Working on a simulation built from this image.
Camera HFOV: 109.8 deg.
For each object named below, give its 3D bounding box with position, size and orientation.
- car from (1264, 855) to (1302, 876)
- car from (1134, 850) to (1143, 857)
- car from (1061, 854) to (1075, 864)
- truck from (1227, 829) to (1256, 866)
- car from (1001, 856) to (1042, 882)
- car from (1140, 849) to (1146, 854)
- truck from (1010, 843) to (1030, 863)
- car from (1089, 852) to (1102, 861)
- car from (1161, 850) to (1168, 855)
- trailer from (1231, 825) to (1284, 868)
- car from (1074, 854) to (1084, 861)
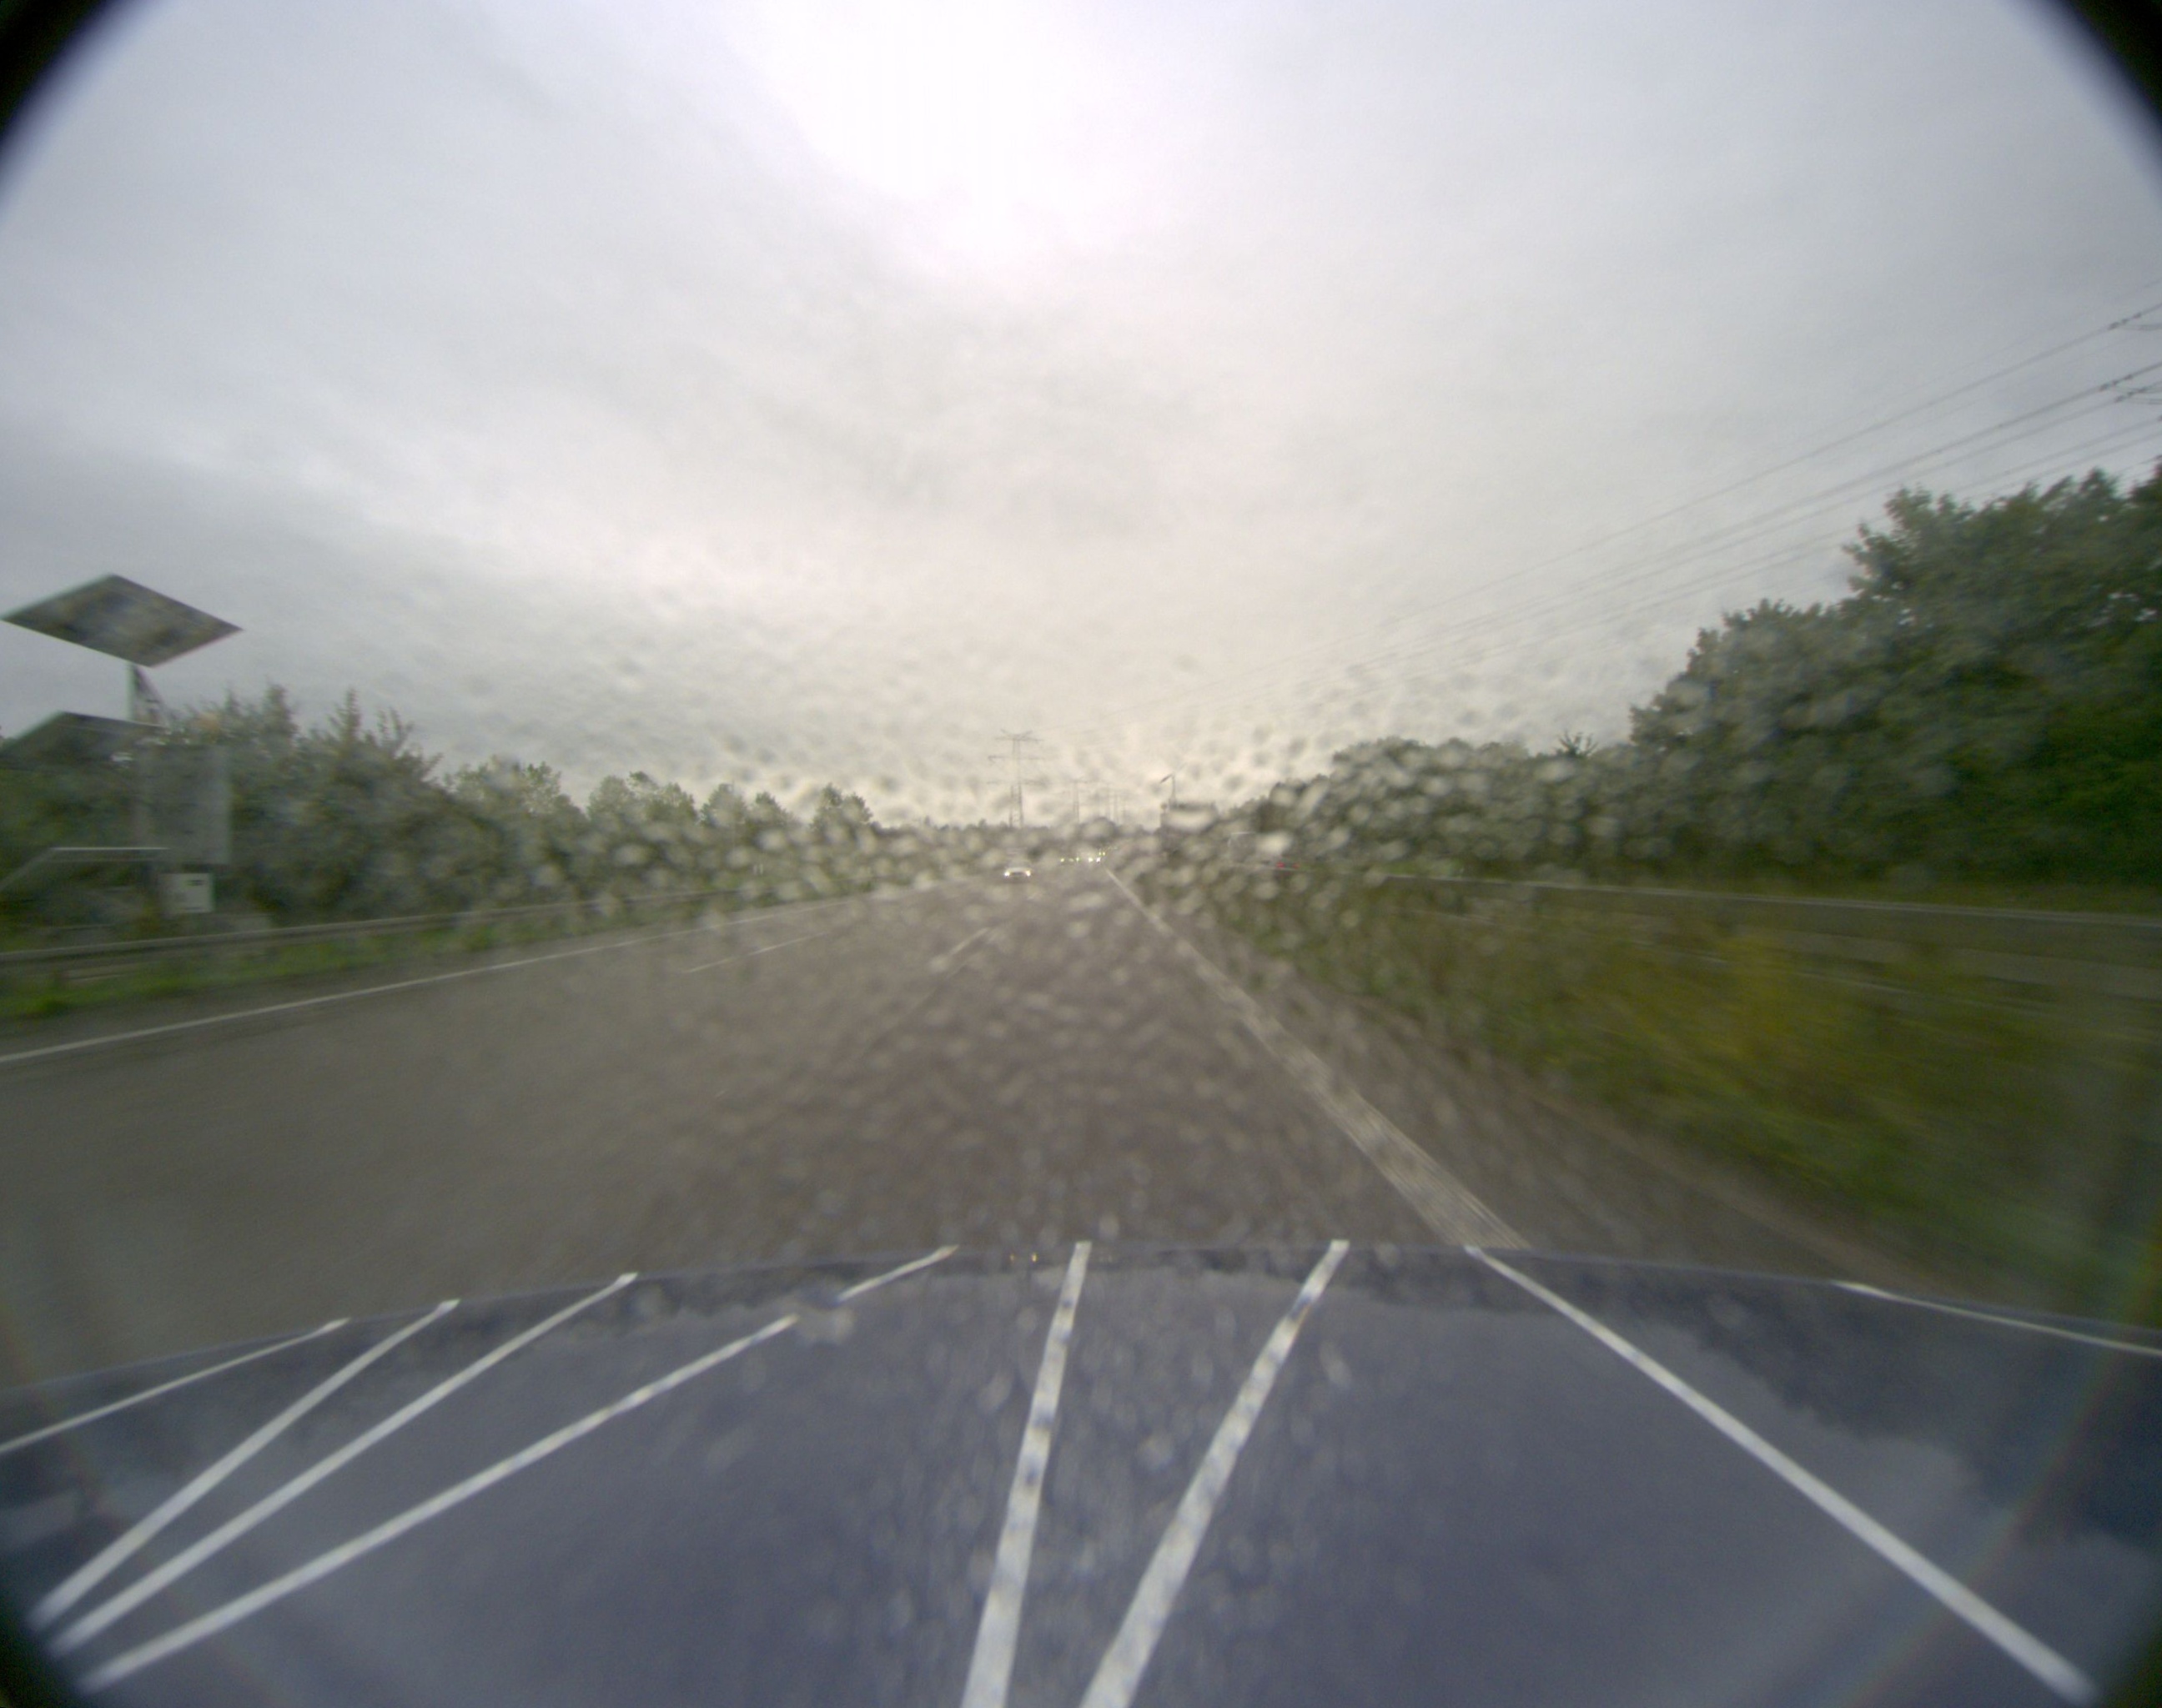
[{"bbox_3d":[14.569,0.805,55.002,1.683,1.389,4.000,-1,0,0],"label":"car"},{"bbox_3d":[13.200,-0.057,175.119,1.668,1.533,4.000,0,0,1],"label":"car"},{"bbox_3d":[-2.073,0.847,123.581,1.998,1.419,4.000,-2,1,4],"label":"car"},{"bbox_3d":[18.823,-0.751,89.261,2.650,4.212,4.000,-1,0,1],"label":"truck"},{"bbox_3d":[-3.774,0.944,48.731,1.998,1.419,4.000,-2,1,4],"label":"car"},{"bbox_3d":[19.620,-0.834,240.654,1.879,1.485,4.514,0,0,1],"label":"car"},{"bbox_3d":[-11.270,-0.221,141.016,2.648,3.325,6.931,-2,1,4],"label":"truck"},{"bbox_3d":[2.475,0.450,130.783,1.998,1.419,4.000,-2,1,4],"label":"car"},{"bbox_3d":[25.881,-0.586,235.922,1.972,1.534,4.001,-1,0,3],"label":"car"},{"bbox_3d":[18.757,-0.716,81.624,2.650,4.212,13.911,-1,0,1],"label":"trailer"},{"bbox_3d":[-0.406,0.780,161.903,1.856,1.419,4.000,-2,1,4],"label":"car"}]
